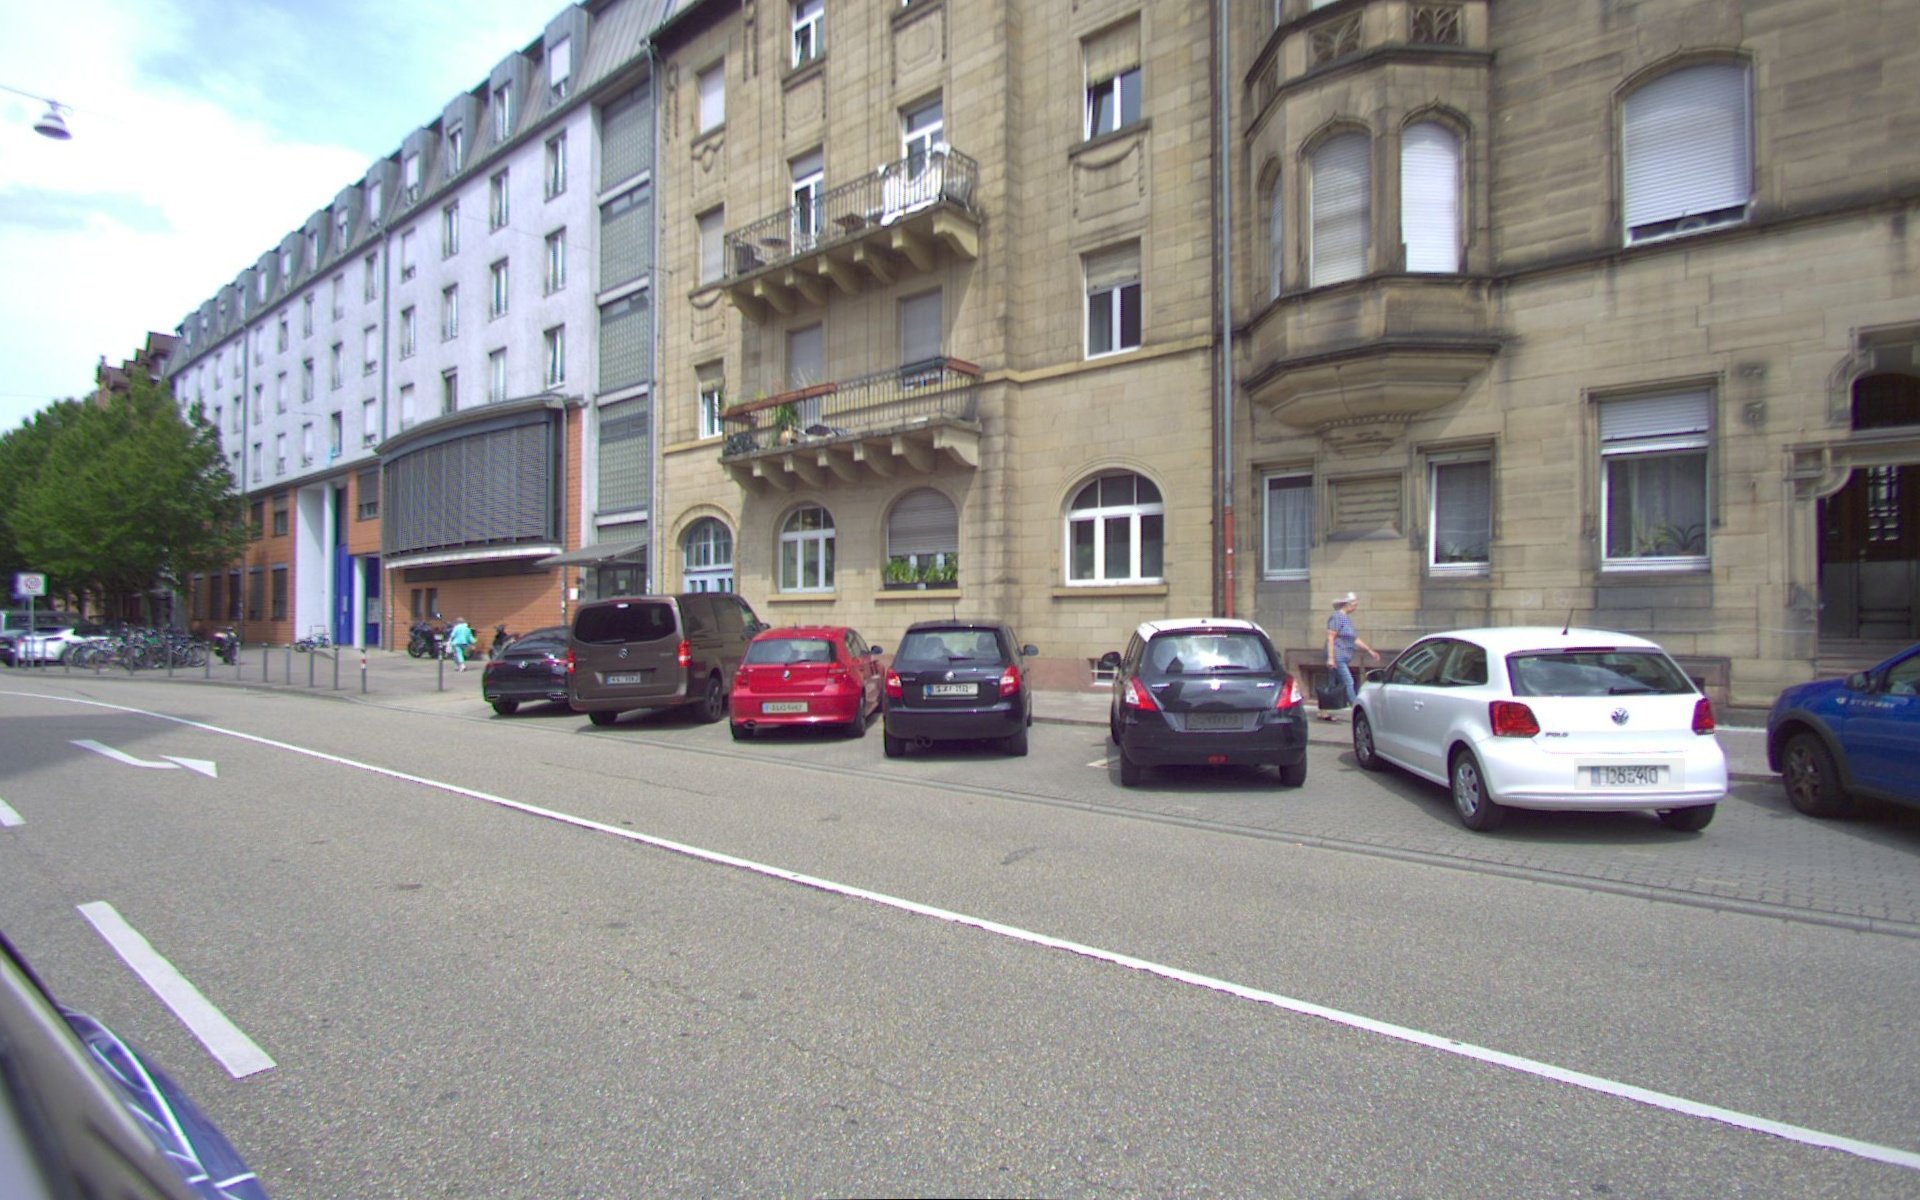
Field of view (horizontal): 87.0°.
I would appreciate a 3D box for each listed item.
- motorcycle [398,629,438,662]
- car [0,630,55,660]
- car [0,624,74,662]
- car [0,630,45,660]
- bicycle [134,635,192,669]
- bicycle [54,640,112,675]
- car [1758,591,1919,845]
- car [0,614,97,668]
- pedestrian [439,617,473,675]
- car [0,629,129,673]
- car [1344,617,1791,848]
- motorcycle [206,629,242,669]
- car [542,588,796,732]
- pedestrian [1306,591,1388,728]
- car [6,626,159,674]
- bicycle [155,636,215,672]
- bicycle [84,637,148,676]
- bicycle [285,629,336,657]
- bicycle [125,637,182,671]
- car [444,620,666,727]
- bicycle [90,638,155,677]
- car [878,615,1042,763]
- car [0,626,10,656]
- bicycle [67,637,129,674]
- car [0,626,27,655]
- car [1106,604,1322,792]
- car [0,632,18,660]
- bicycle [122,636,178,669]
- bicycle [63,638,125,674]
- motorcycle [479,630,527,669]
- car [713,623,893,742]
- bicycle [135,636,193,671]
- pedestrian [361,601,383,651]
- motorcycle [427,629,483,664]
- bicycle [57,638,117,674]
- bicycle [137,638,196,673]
[{"bbox_3d":[-17.689,1.482,33.034,1.655,1.057,0.577,-2,-1,40],"label":"motorcycle"},{"bbox_3d":[-45.365,2.143,47.723,1.577,1.400,3.996,-1,-2,7],"label":"car"},{"bbox_3d":[-41.198,1.860,43.944,1.692,1.627,3.996,-1,-2,7],"label":"car"},{"bbox_3d":[-47.103,2.194,49.054,1.671,1.465,3.996,-1,-2,7],"label":"car"},{"bbox_3d":[-25.249,1.639,32.064,0.402,1.034,1.390,-2,-2,43],"label":"bicycle"},{"bbox_3d":[-28.542,1.848,32.947,0.402,1.034,1.391,-2,0,43],"label":"bicycle"},{"bbox_3d":[7.084,0.752,6.105,1.703,1.664,3.772,-1,-2,5],"label":"car"},{"bbox_3d":[-37.059,1.586,40.196,1.841,2.013,3.993,-1,0,10],"label":"car"},{"bbox_3d":[-13.344,1.215,26.804,0.508,1.497,0.653,-2,-2,39],"label":"pedestrian"},{"bbox_3d":[-32.689,1.796,36.427,1.697,1.480,4.307,-1,-2,7],"label":"car"},{"bbox_3d":[4.661,0.912,8.474,1.720,1.493,3.680,-1,-2,5],"label":"car"},{"bbox_3d":[-23.132,1.529,31.786,1.779,1.181,0.577,-2,-1,43],"label":"motorcycle"},{"bbox_3d":[-4.387,0.886,16.344,2.096,1.924,5.260,-1,-2,7],"label":"car"},{"bbox_3d":[4.764,0.707,12.446,0.678,1.607,0.783,-2,0,41],"label":"pedestrian"},{"bbox_3d":[-30.428,1.706,35.246,1.583,1.557,3.997,-1,-2,7],"label":"car"},{"bbox_3d":[-23.473,1.619,30.656,0.402,1.034,1.390,-2,-2,43],"label":"bicycle"},{"bbox_3d":[-24.934,1.650,29.906,0.402,1.046,1.391,-2,0,43],"label":"bicycle"},{"bbox_3d":[-25.801,1.707,40.191,1.590,0.933,0.933,-6,2,-37],"label":"bicycle"},{"bbox_3d":[-25.917,1.739,32.537,0.402,1.034,1.390,-2,-2,43],"label":"bicycle"},{"bbox_3d":[-6.911,1.178,17.885,1.874,1.420,4.669,-2,1,2],"label":"car"},{"bbox_3d":[-24.250,1.656,29.334,0.402,1.046,1.391,-2,0,43],"label":"bicycle"},{"bbox_3d":[0.148,0.967,12.454,1.611,1.514,3.989,-1,-2,6],"label":"car"},{"bbox_3d":[-59.760,2.489,60.614,1.671,1.872,4.035,-1,-2,7],"label":"car"},{"bbox_3d":[-26.511,1.690,31.140,0.402,1.046,1.391,-2,0,43],"label":"bicycle"},{"bbox_3d":[-53.132,2.211,54.576,1.671,1.580,3.996,-1,-2,7],"label":"car"},{"bbox_3d":[2.458,0.885,10.639,1.776,1.576,4.001,-1,-2,9],"label":"car"},{"bbox_3d":[-55.176,2.619,56.234,1.671,1.580,3.996,-1,-2,7],"label":"car"},{"bbox_3d":[-26.283,1.698,32.858,0.402,1.034,1.390,-2,-2,43],"label":"bicycle"},{"bbox_3d":[-26.995,1.727,31.561,0.402,1.034,1.391,-2,0,43],"label":"bicycle"},{"bbox_3d":[-13.100,1.400,28.987,1.793,1.057,0.577,-2,-1,42],"label":"motorcycle"},{"bbox_3d":[-2.016,1.046,14.118,1.772,1.420,4.009,0,-2,2],"label":"car"},{"bbox_3d":[-24.926,1.654,31.694,0.402,1.034,1.390,-2,-2,43],"label":"bicycle"},{"bbox_3d":[-23.703,1.051,40.797,0.718,2.029,0.785,1,-2,-29],"label":"pedestrian"},{"bbox_3d":[-15.755,1.457,31.576,1.959,1.057,0.579,-2,-1,30],"label":"motorcycle"},{"bbox_3d":[-27.941,1.782,32.410,0.402,1.034,1.391,-2,0,43],"label":"bicycle"},{"bbox_3d":[-24.538,1.707,31.321,0.402,1.034,1.390,-2,-2,43],"label":"bicycle"}]
